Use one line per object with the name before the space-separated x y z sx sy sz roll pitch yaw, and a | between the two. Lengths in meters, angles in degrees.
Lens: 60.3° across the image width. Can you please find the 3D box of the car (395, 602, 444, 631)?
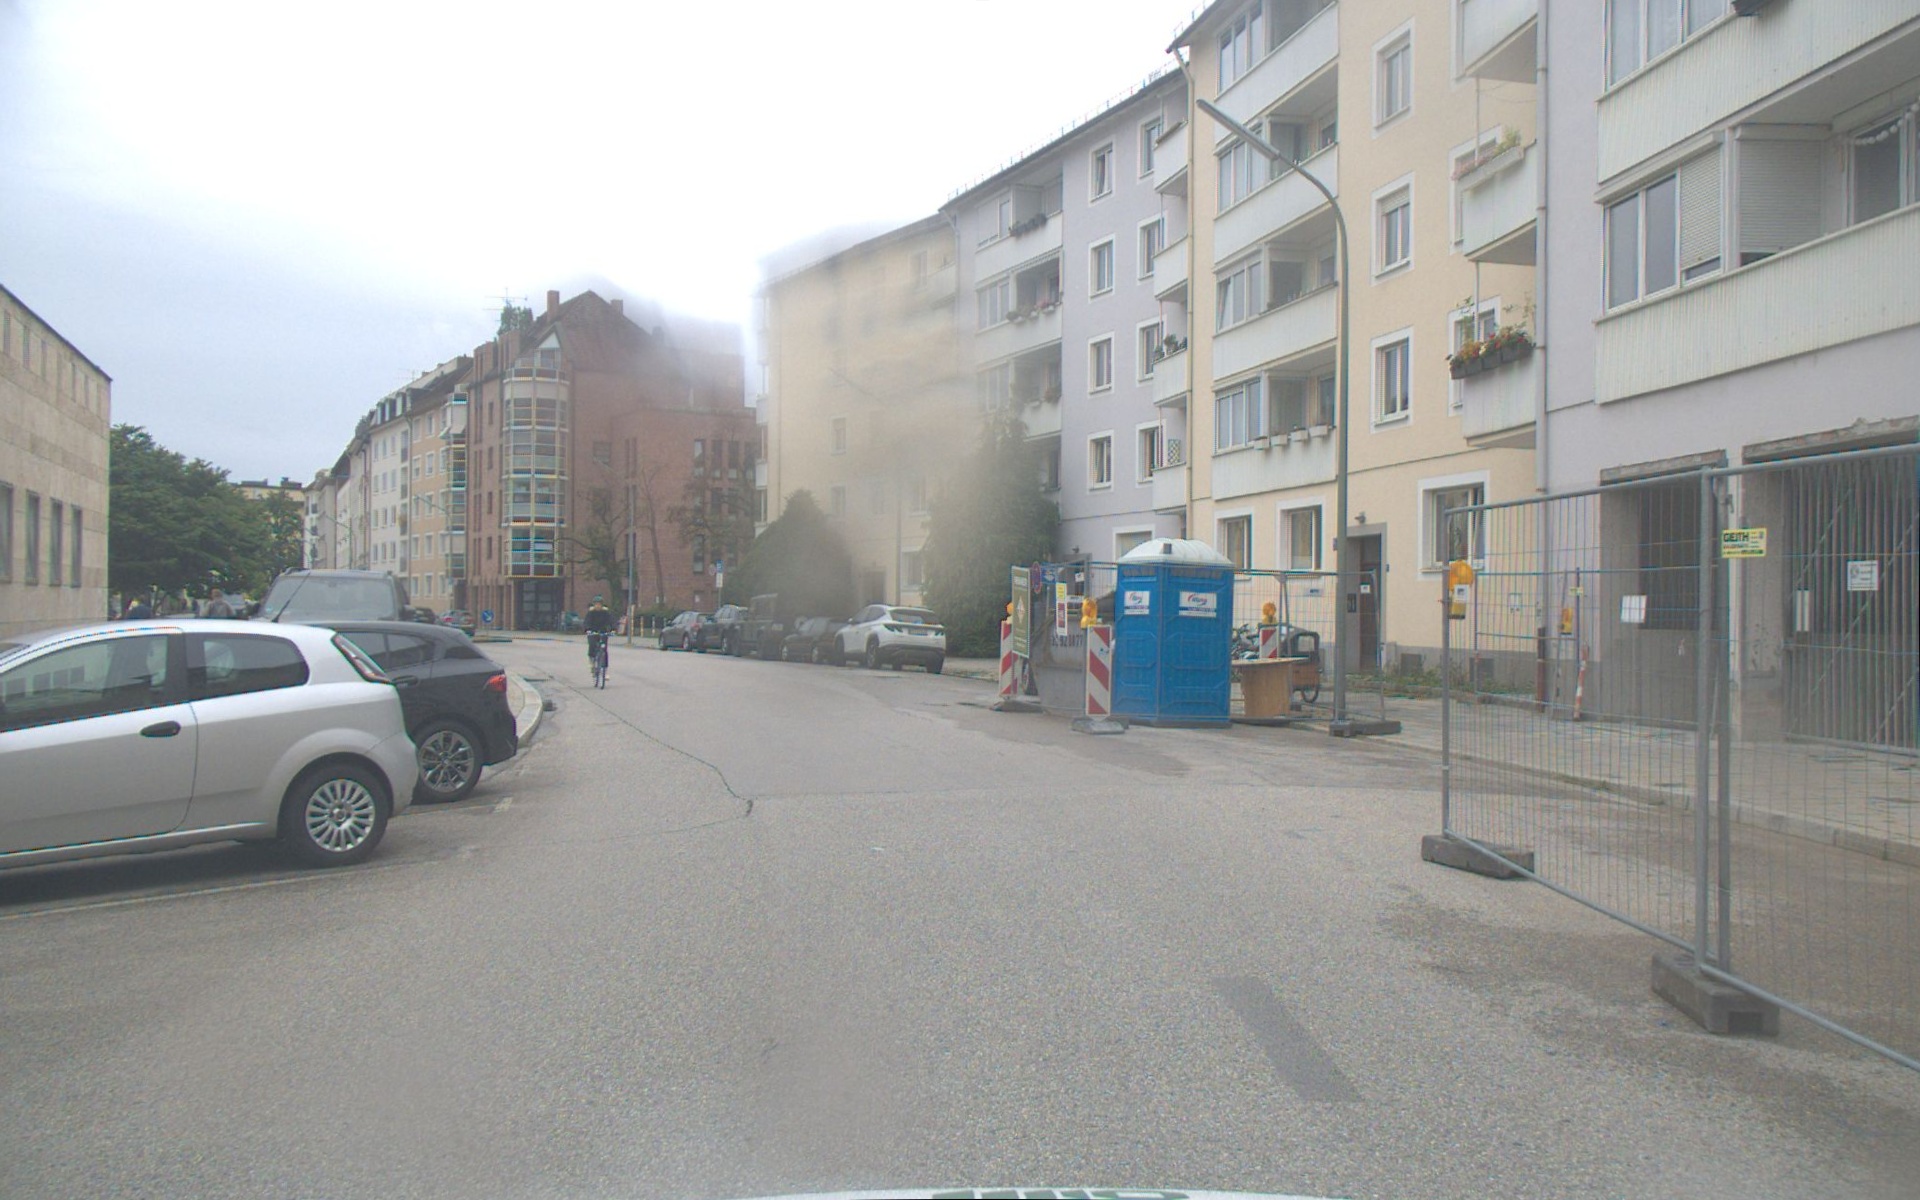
car | -33.260 1.004 101.758 1.813 1.630 4.217 2 -1 -33

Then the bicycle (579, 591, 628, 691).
bicycle | -6.784 0.732 31.593 0.781 1.752 3.107 -2 1 -11

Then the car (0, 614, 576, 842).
car | -5.226 0.881 12.974 3.974 1.397 1.722 -2 0 -43

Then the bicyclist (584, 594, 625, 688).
bicyclist | -6.737 0.761 31.389 0.734 1.747 1.029 0 0 -11

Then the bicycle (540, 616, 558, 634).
bicycle | -25.401 1.517 102.128 0.481 1.078 1.974 2 -1 -32

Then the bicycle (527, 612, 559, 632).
bicycle | -25.312 1.323 100.343 1.824 1.167 0.484 2 -1 -25

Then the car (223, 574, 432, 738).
car | -7.790 0.621 20.802 1.961 1.803 4.795 0 0 -15

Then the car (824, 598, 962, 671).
car | -1.789 0.847 42.286 1.999 1.707 4.579 2 -1 -23

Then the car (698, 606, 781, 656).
car | -7.521 1.057 56.180 1.636 1.593 4.482 2 -2 -23

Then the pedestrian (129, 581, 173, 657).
pedestrian | -17.779 0.424 36.342 0.595 1.629 0.641 1 -1 41

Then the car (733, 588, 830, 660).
car | -5.600 0.706 51.413 1.724 2.118 4.483 2 -1 -23

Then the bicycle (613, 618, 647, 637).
bicycle | -17.672 1.460 88.579 1.682 0.982 0.541 2 -1 -30

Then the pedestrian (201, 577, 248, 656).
pedestrian | -16.948 0.378 38.145 0.780 1.770 0.818 2 -1 -13

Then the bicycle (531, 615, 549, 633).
bicycle | -25.867 1.481 101.838 0.481 1.078 1.973 2 -2 -32

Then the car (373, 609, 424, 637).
car | -36.046 1.451 106.079 1.946 1.630 4.618 2 -1 -33

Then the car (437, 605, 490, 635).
car | -27.848 1.112 92.704 1.904 1.539 4.348 3 -2 -30

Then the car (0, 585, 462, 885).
car | -5.132 0.712 9.599 3.944 1.557 1.651 3 -1 -40

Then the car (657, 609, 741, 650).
car | -9.596 1.098 60.600 1.735 1.421 4.004 3 -2 -29

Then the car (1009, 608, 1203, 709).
car | 2.318 0.911 27.625 1.800 1.467 4.611 2 0 -14

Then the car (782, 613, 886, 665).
car | -3.605 1.104 46.853 1.638 1.373 3.771 2 -2 -26

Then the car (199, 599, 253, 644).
car | -46.626 1.378 105.026 2.398 2.762 5.889 -1 -1 -31
